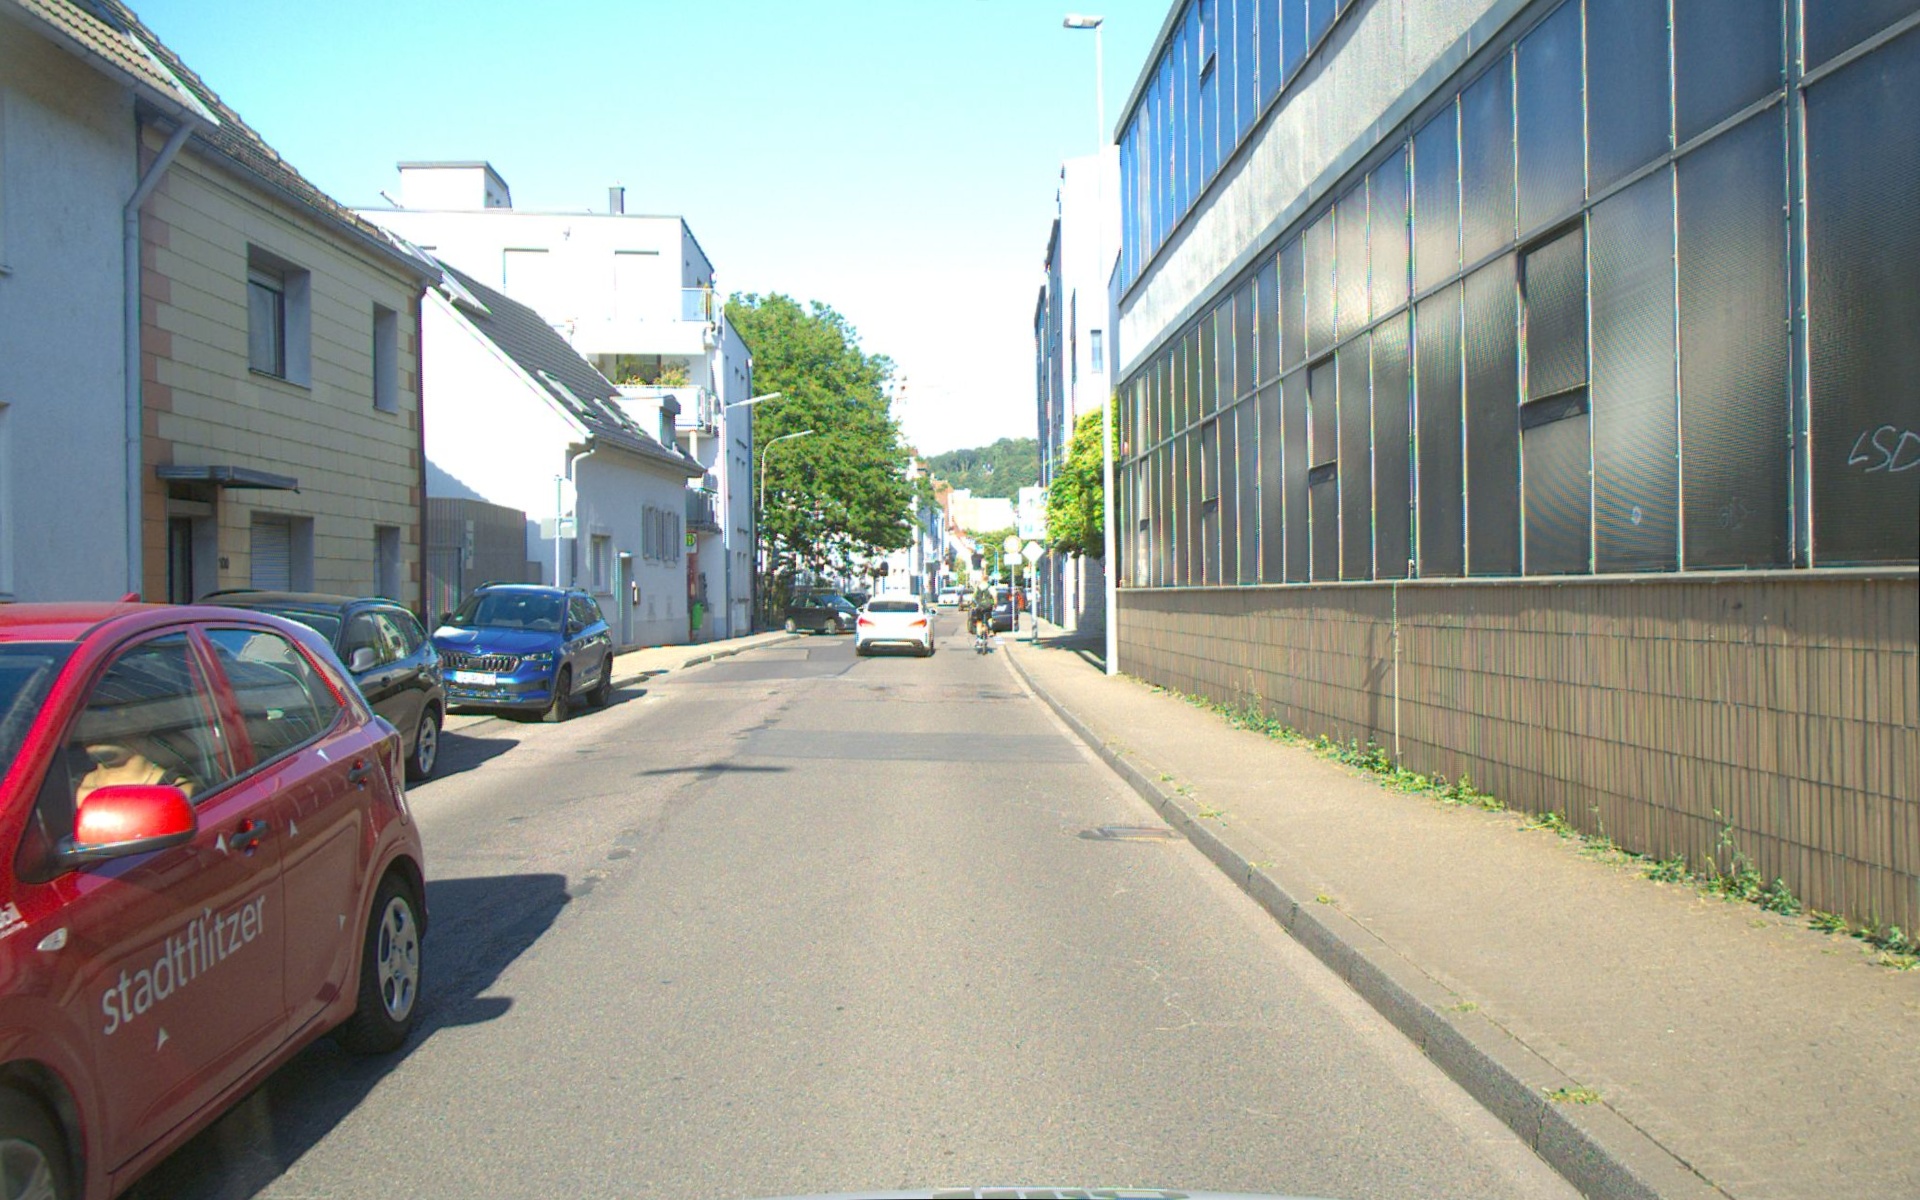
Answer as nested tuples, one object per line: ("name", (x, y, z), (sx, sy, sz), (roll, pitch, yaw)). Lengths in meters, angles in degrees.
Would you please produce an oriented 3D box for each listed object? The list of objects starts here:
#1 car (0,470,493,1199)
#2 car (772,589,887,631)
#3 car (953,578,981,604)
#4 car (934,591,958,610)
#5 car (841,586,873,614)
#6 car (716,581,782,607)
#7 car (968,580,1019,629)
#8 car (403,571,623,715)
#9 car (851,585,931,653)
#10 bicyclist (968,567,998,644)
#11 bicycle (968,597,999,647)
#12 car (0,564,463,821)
("car", (-2.695, 0.551, 4.376), (1.805, 1.517, 4.143), (-3, 0, -2))
("car", (-4.865, 0.374, 61.416), (4.062, 1.517, 1.841), (0, -1, 37))
("car", (0.482, -0.661, 120.694), (1.816, 1.823, 4.604), (0, 0, -3))
("car", (-1.285, 0.069, 151.126), (1.905, 1.614, 4.623), (-3, 0, 2))
("car", (-5.904, -0.003, 95.311), (1.670, 1.603, 3.913), (0, 0, -1))
("car", (-13.262, -0.391, 103.901), (3.819, 1.603, 1.711), (0, 0, 4))
("car", (1.185, 0.161, 59.556), (1.597, 1.614, 4.068), (-3, 0, -1))
("car", (-5.688, 0.466, 21.560), (1.772, 1.614, 4.192), (2, 1, -1))
("car", (-1.621, 0.431, 39.315), (1.805, 1.517, 4.142), (0, 0, -2))
("bicyclist", (0.549, 0.128, 39.553), (0.684, 1.821, 1.040), (0, -1, 0))
("bicycle", (0.550, 0.524, 39.515), (0.684, 1.150, 2.402), (0, 0, 0))
("car", (-5.430, 0.568, 12.857), (1.820, 1.614, 4.335), (2, 1, -1))
